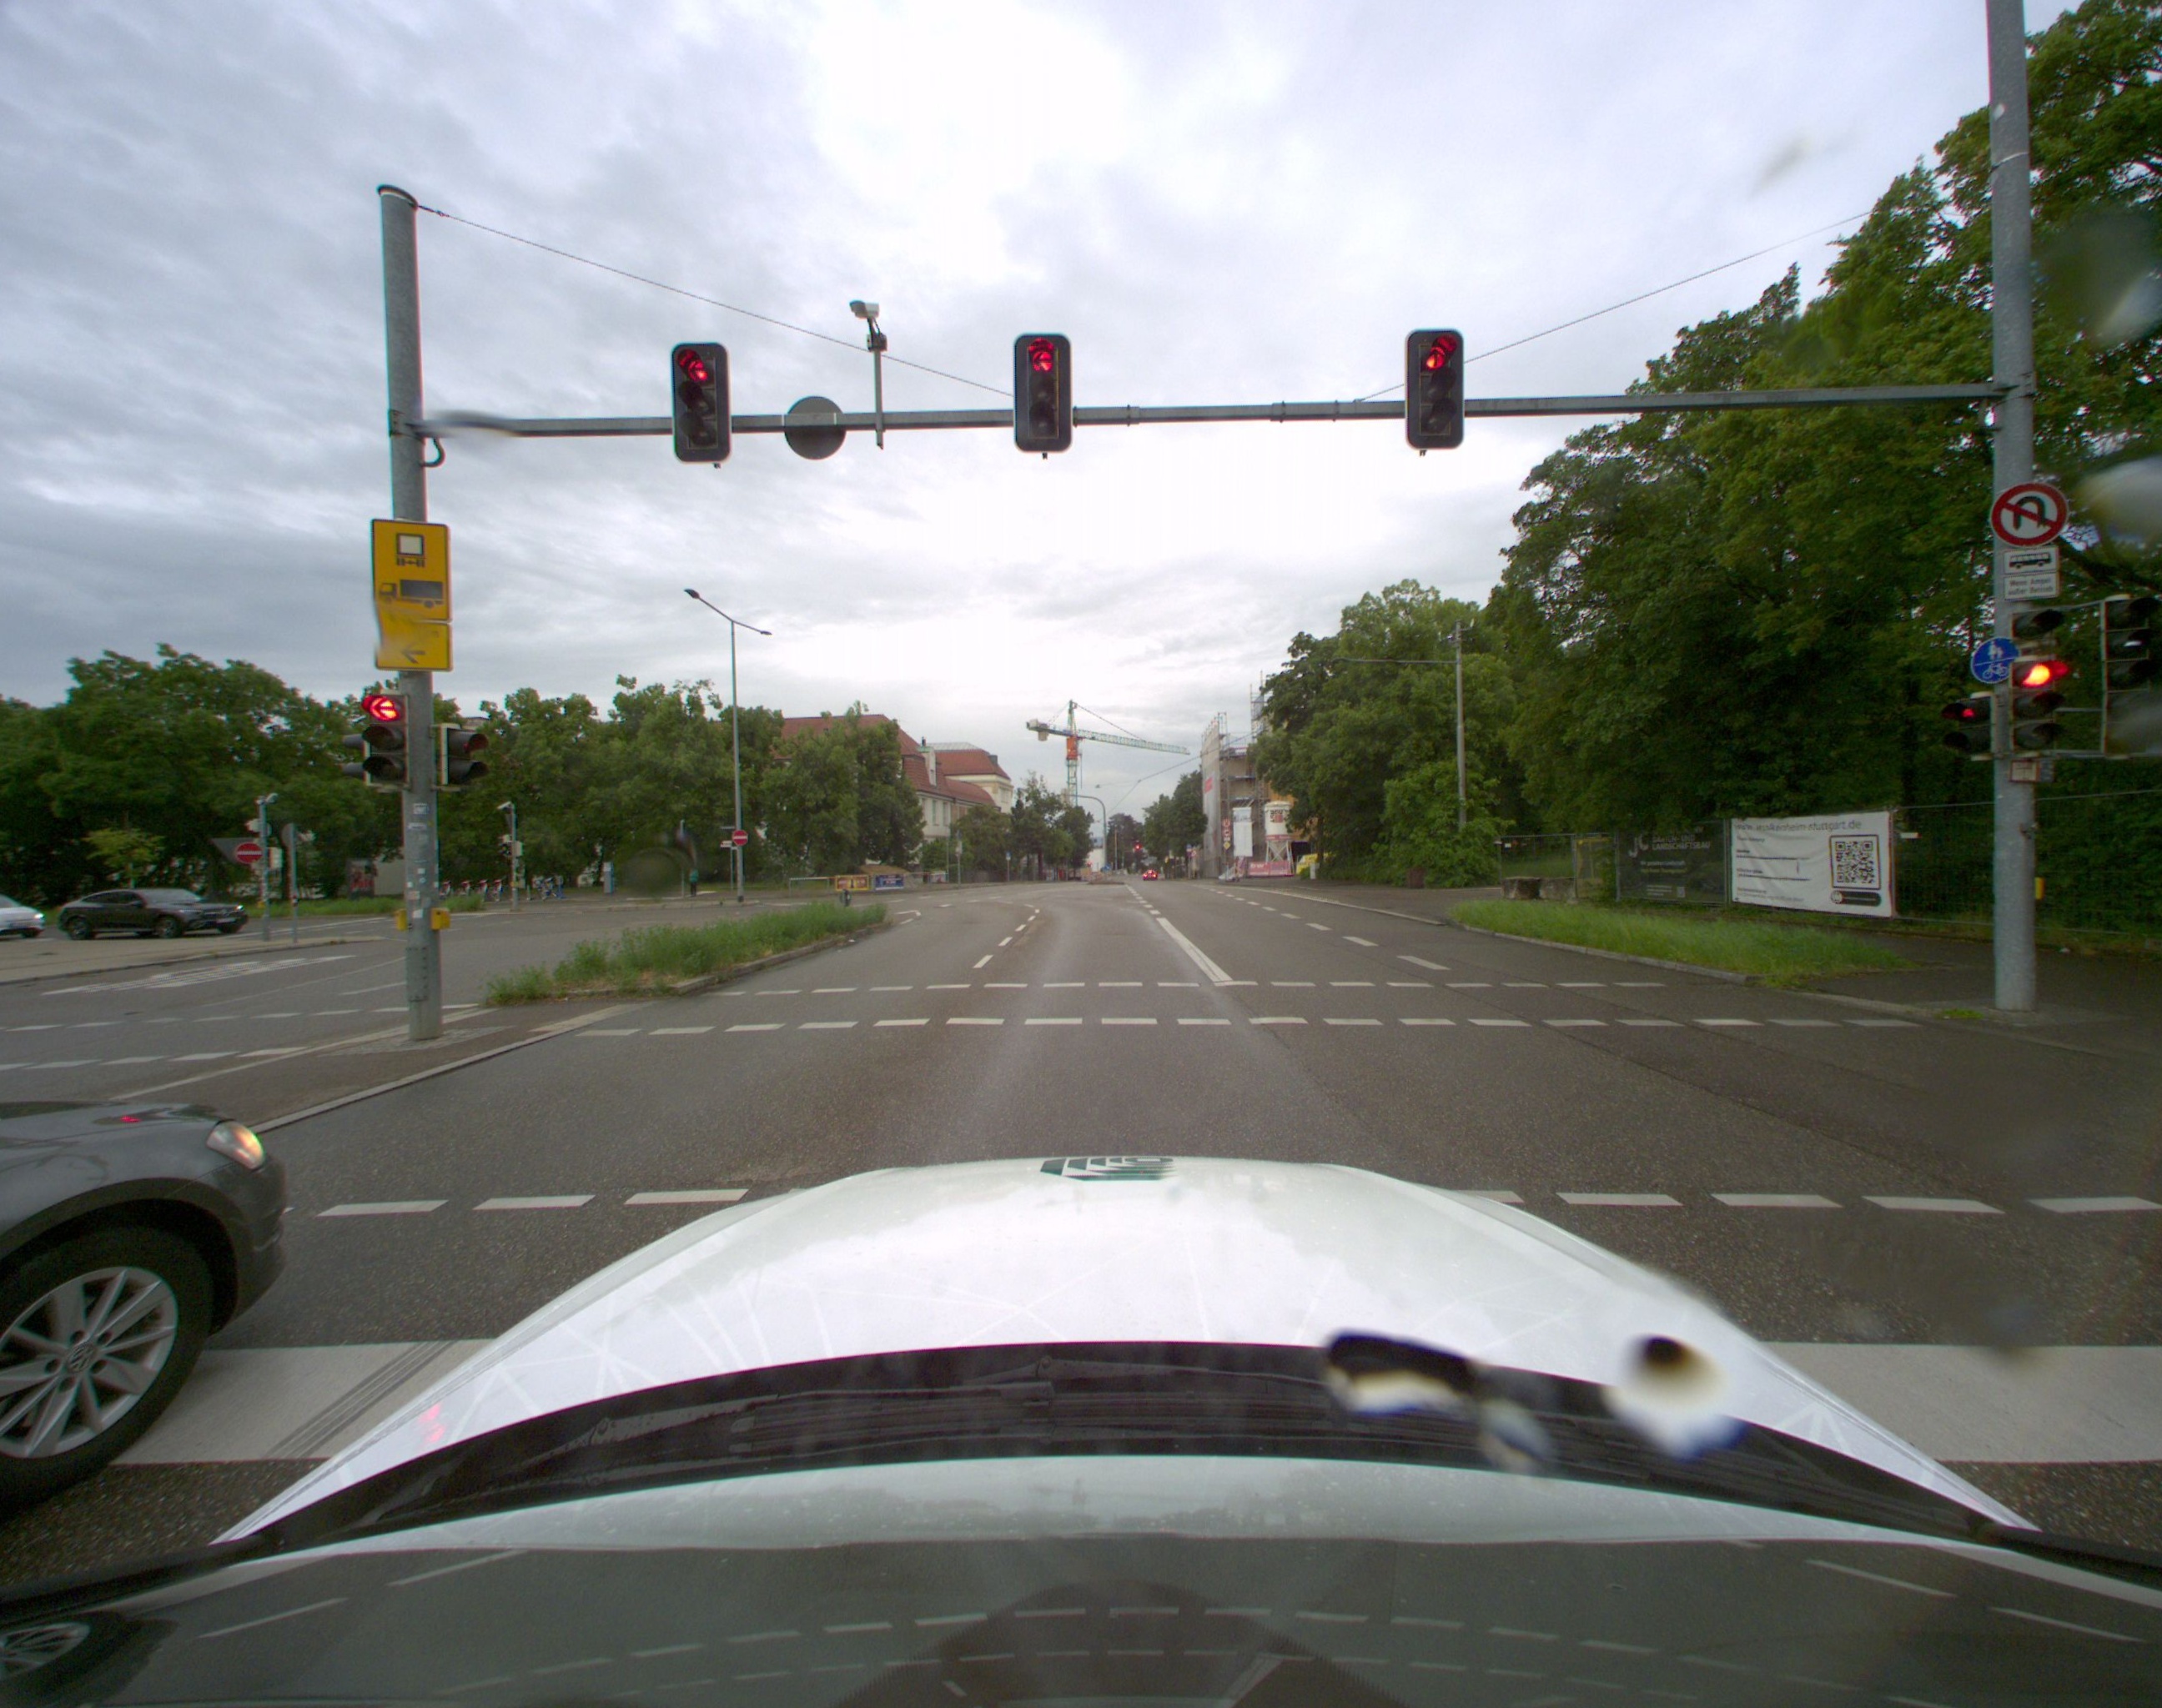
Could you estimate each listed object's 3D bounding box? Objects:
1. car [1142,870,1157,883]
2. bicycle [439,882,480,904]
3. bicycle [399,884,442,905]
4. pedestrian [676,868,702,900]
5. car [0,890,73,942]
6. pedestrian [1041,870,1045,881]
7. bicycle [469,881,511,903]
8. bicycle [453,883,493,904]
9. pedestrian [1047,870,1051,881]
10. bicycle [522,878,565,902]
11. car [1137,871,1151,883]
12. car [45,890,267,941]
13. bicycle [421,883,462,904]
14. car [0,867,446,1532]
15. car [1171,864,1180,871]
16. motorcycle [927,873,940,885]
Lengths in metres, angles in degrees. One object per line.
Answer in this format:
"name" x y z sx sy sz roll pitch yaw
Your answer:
"car" 10.504 3.387 124.466 1.986 1.750 4.001 -2 0 1
"bicycle" -33.909 2.114 44.455 0.649 1.071 1.982 0 -1 2
"bicycle" -35.965 2.177 44.371 0.649 1.071 1.982 0 -1 2
"pedestrian" -21.616 1.631 44.902 0.918 1.727 0.947 0 -1 5
"car" -36.497 2.037 27.055 3.539 1.594 2.001 0 -1 1
"pedestrian" -5.285 2.965 111.874 0.473 1.396 0.411 -2 -1 1
"bicycle" -32.270 2.067 44.512 0.798 1.071 1.982 0 -1 2
"bicycle" -33.019 2.118 44.280 0.649 1.071 1.982 0 -1 2
"pedestrian" -4.367 2.960 112.125 0.473 1.396 0.411 -2 -1 1
"bicycle" -29.436 1.955 44.620 0.987 1.249 1.982 0 -1 2
"car" 10.205 3.659 131.166 1.986 1.750 4.001 -2 0 1
"car" -30.076 1.986 26.591 5.006 1.500 2.001 0 -1 1
"bicycle" -34.988 2.142 44.586 0.649 1.071 1.982 0 -1 2
"car" -3.405 0.808 0.885 1.808 1.481 4.380 -2 0 3
"car" 25.465 3.502 218.954 1.980 1.750 4.014 -2 0 13
"motorcycle" -11.797 2.004 65.287 0.846 0.877 0.877 0 -1 1
